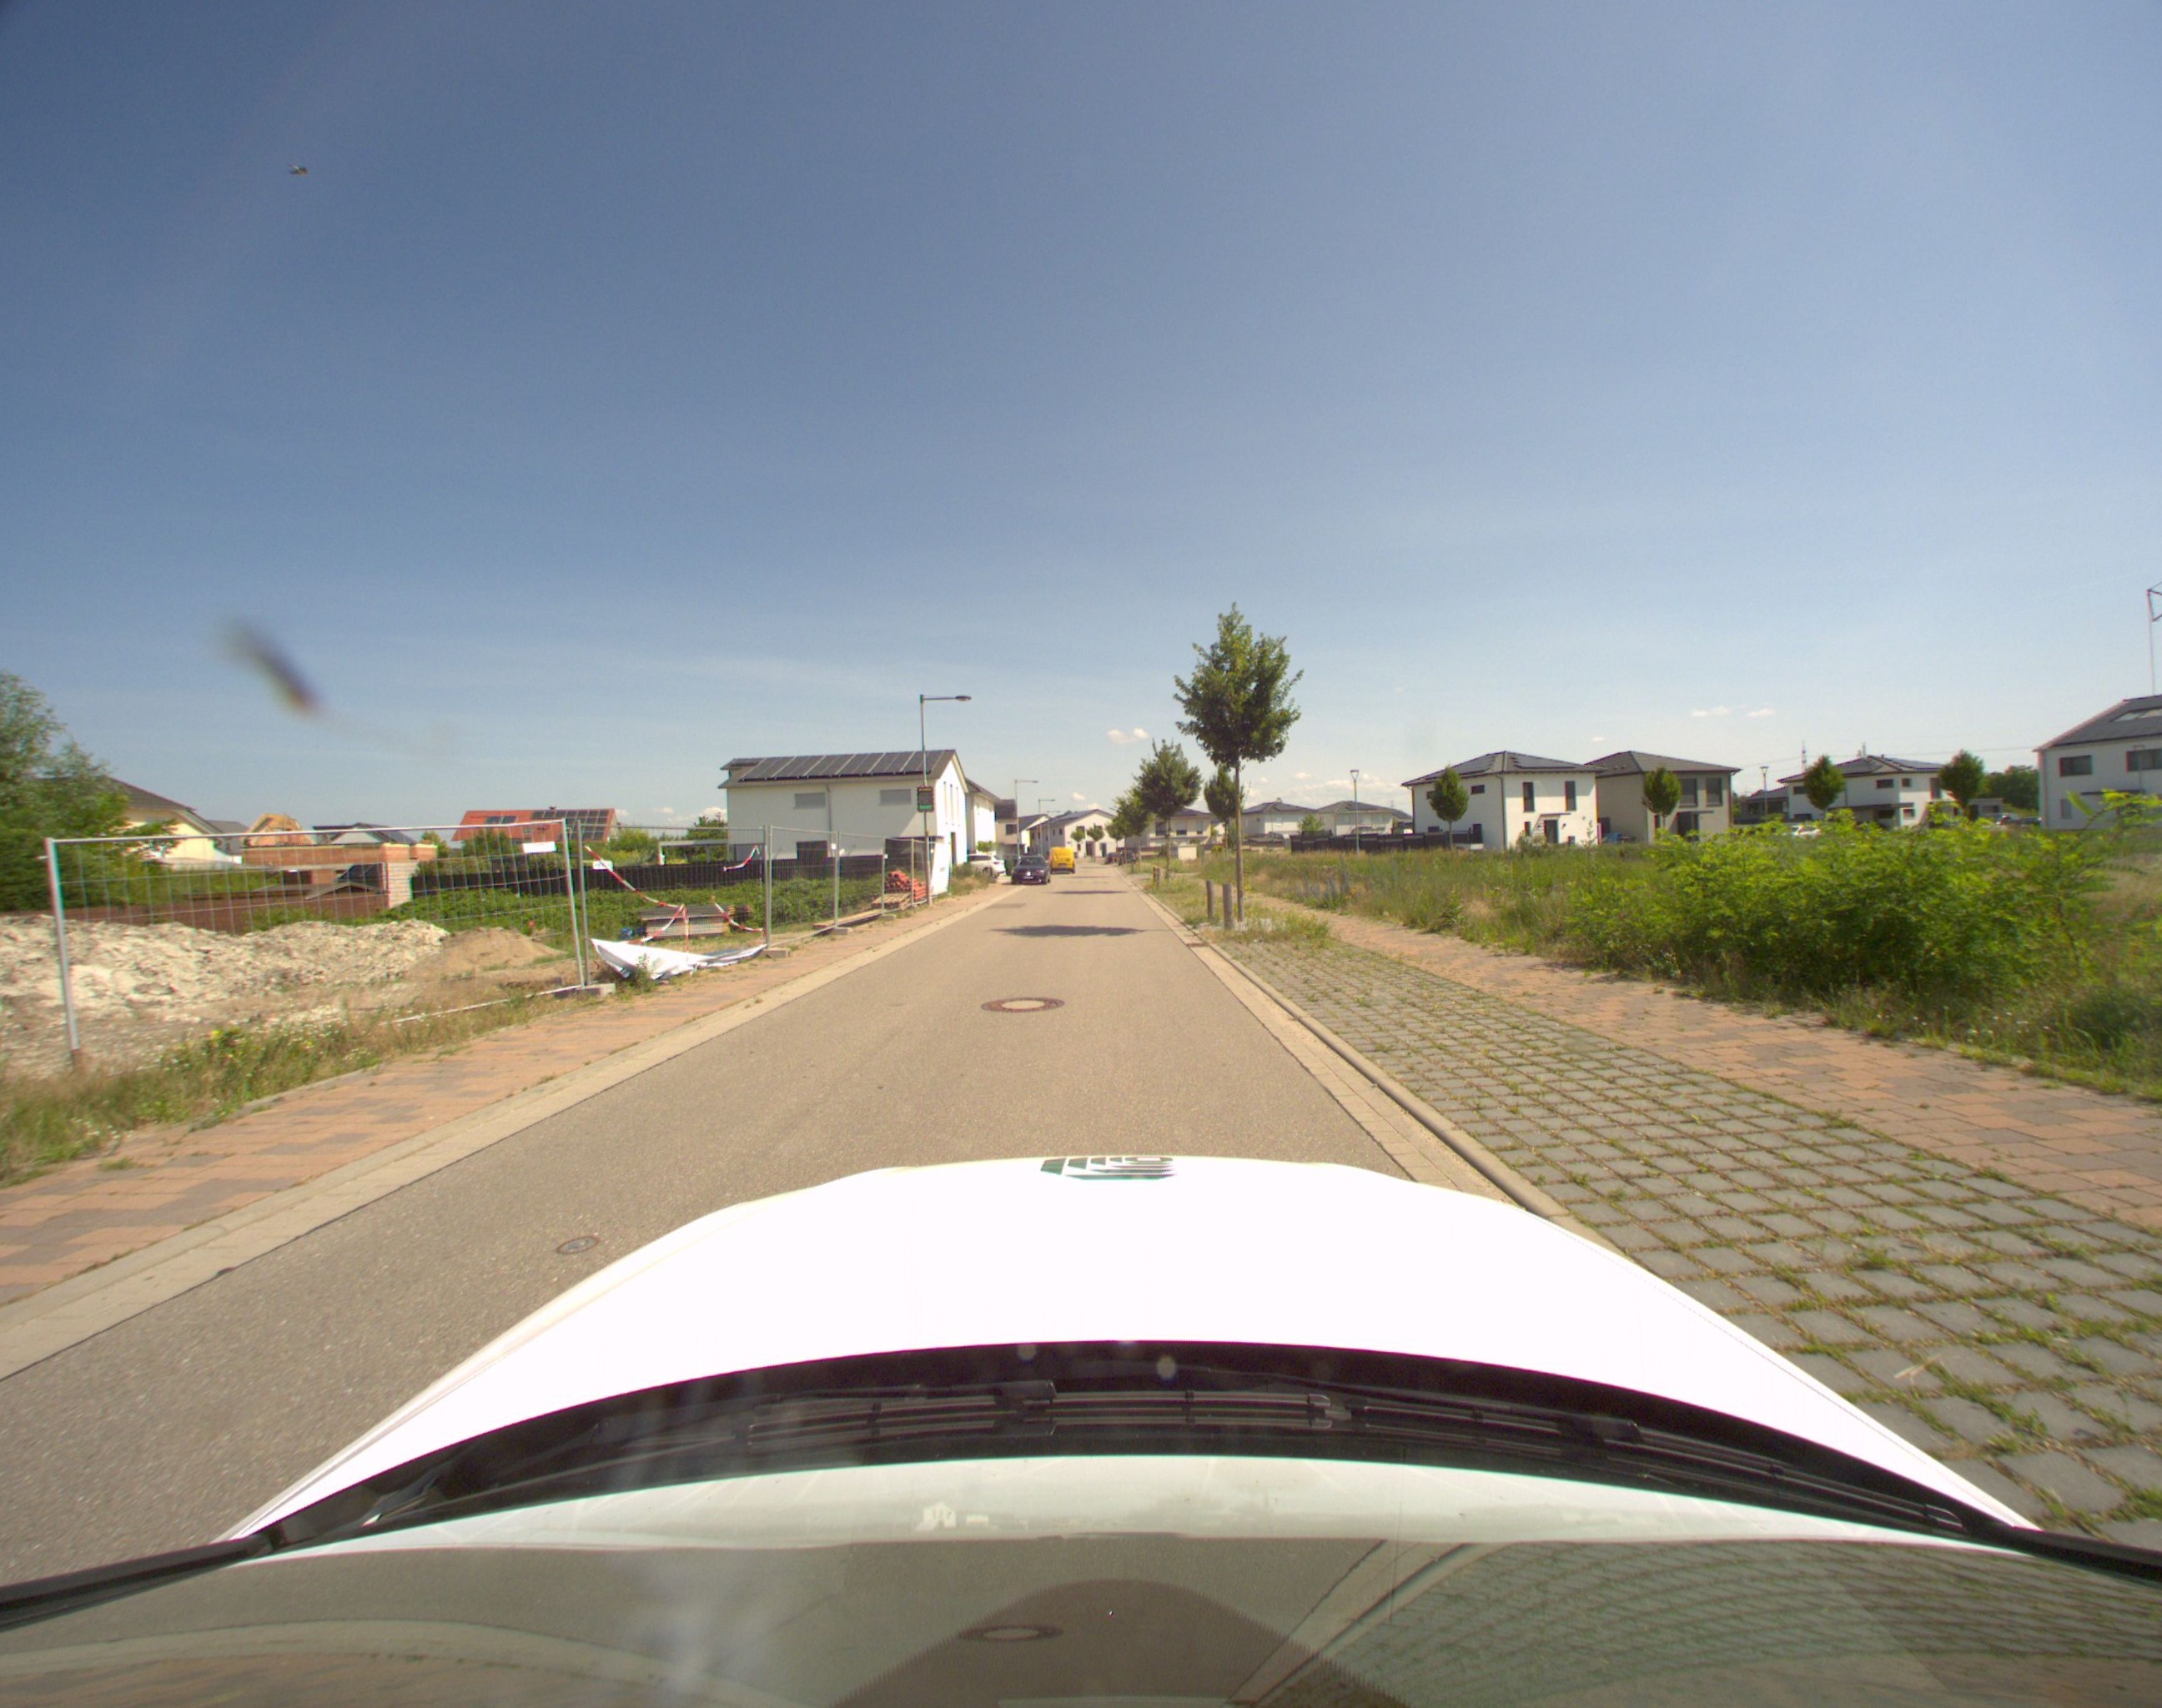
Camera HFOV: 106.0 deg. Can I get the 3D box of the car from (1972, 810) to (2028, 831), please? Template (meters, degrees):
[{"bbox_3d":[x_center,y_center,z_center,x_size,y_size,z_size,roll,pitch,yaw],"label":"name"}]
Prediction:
[{"bbox_3d":[84.306,-3.077,74.702,4.238,1.753,1.817,-2,0,-18],"label":"car"}]

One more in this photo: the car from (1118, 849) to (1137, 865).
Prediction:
[{"bbox_3d":[4.669,0.323,82.330,1.634,1.403,3.810,-2,-1,0],"label":"car"}]

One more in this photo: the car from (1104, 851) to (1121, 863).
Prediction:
[{"bbox_3d":[3.901,0.430,100.957,1.625,1.322,3.825,-2,-2,-5],"label":"car"}]

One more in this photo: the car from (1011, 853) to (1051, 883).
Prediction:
[{"bbox_3d":[-2.531,0.695,42.334,1.739,1.405,4.160,0,1,1],"label":"car"}]

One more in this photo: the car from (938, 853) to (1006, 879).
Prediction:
[{"bbox_3d":[-7.038,0.742,52.737,4.047,1.581,1.788,-1,1,6],"label":"car"}]

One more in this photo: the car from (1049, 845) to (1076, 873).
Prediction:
[{"bbox_3d":[-1.433,0.424,62.320,1.937,1.981,4.212,-2,-1,-3],"label":"car"}]

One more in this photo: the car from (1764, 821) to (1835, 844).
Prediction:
[{"bbox_3d":[50.679,-1.502,57.480,3.991,1.398,1.743,-2,-1,-13],"label":"car"}]
